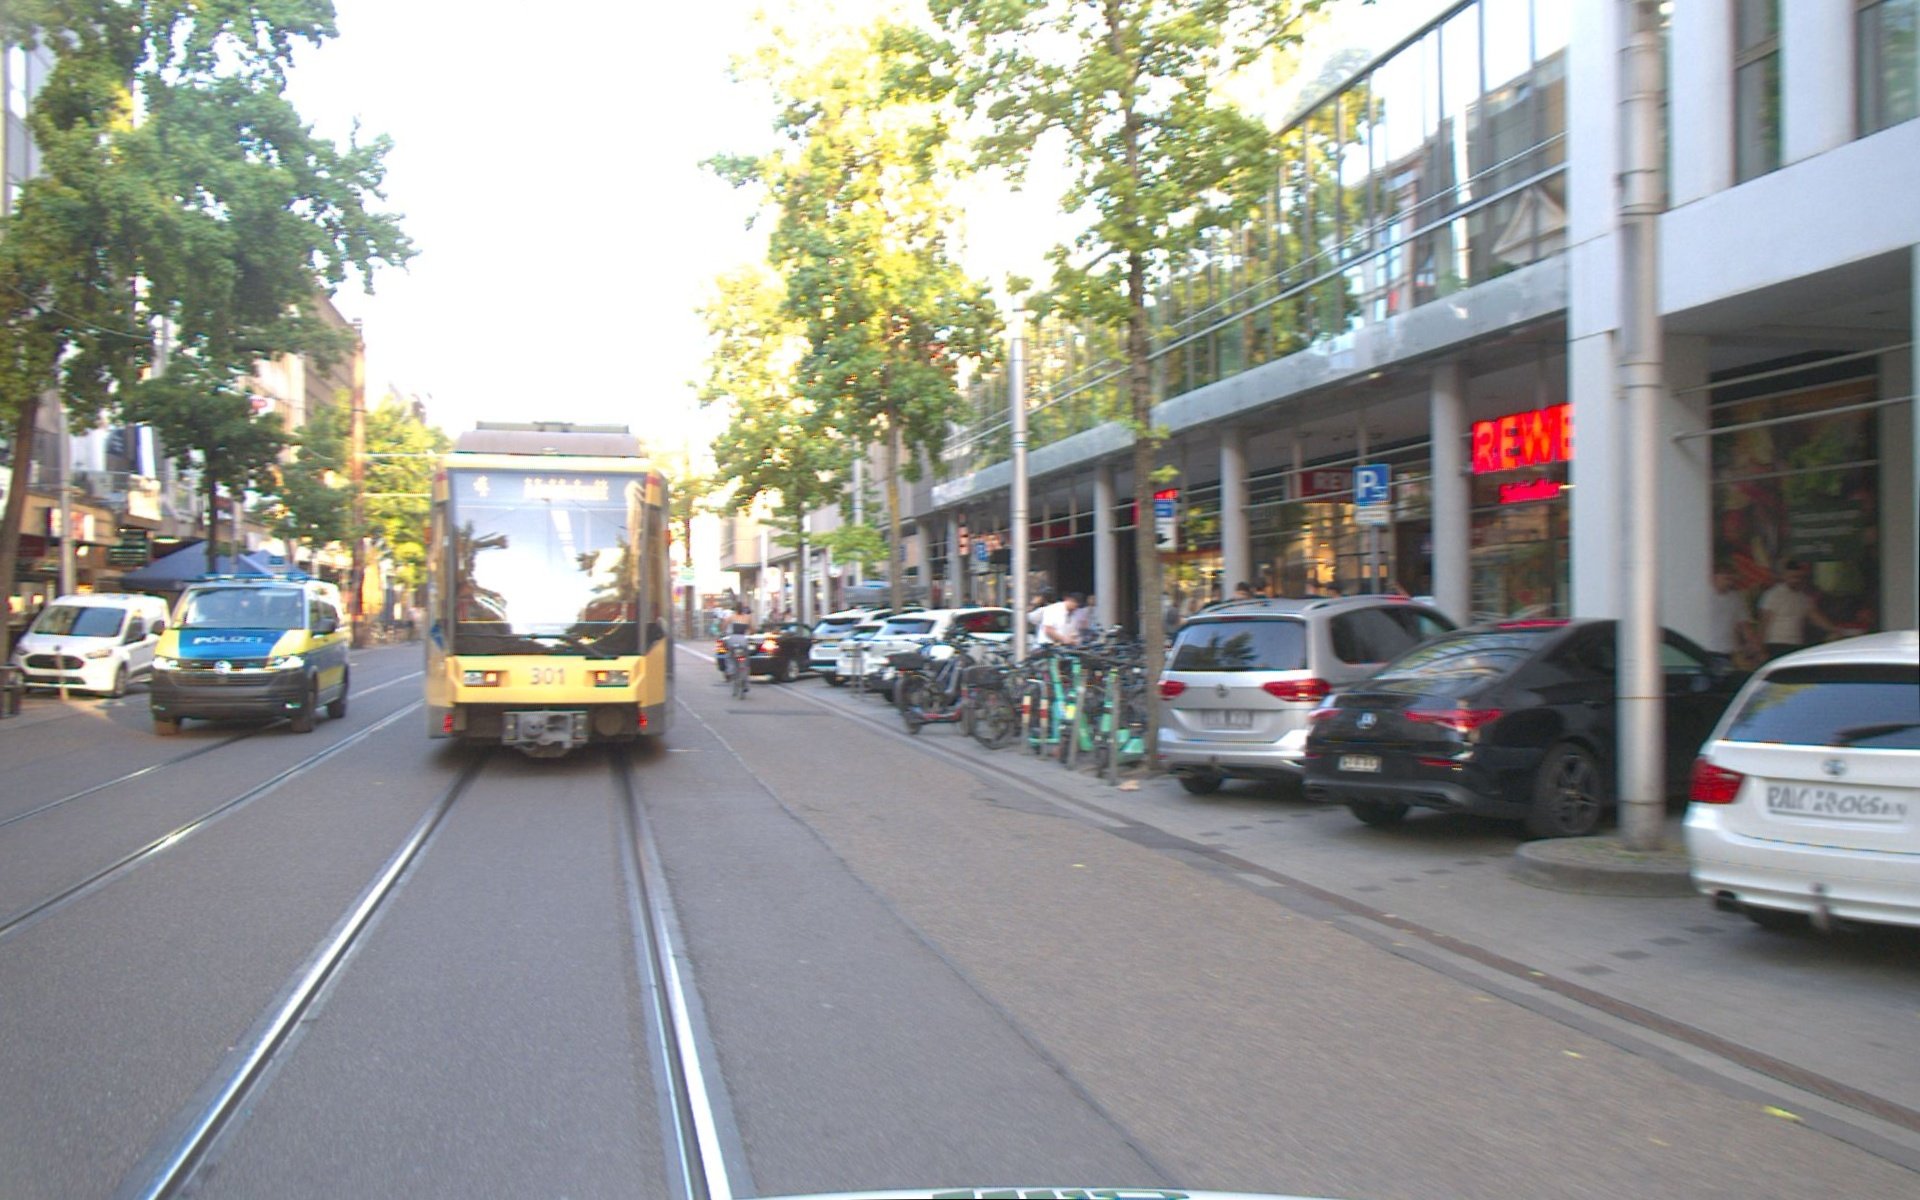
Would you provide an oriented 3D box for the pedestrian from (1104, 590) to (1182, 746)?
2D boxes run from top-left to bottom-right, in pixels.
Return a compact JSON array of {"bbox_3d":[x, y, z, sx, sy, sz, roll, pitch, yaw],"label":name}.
[{"bbox_3d":[2.007,0.729,18.226,0.773,1.654,0.770,-2,0,5],"label":"pedestrian"}]

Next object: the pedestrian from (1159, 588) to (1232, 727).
[{"bbox_3d":[2.880,0.692,20.224,0.689,1.653,0.660,-2,0,22],"label":"pedestrian"}]

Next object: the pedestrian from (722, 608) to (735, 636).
[{"bbox_3d":[-14.412,1.379,103.150,0.689,1.714,0.678,-2,1,-13],"label":"pedestrian"}]

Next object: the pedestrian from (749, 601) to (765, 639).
[{"bbox_3d":[-9.850,0.973,80.271,0.735,1.813,0.888,0,-2,-10],"label":"pedestrian"}]

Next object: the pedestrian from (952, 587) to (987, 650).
[{"bbox_3d":[0.280,0.548,49.930,0.818,1.868,0.941,-1,1,-13],"label":"pedestrian"}]

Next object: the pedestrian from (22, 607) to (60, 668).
[{"bbox_3d":[-22.499,0.913,40.498,0.599,1.459,0.510,3,-2,-11],"label":"pedestrian"}]

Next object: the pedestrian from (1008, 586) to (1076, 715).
[{"bbox_3d":[1.230,0.744,24.722,0.589,1.844,0.815,-1,2,38],"label":"pedestrian"}]

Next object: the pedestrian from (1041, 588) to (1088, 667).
[{"bbox_3d":[2.477,0.634,39.324,0.862,1.813,0.753,-2,1,-14],"label":"pedestrian"}]

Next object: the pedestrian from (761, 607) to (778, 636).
[{"bbox_3d":[-9.285,1.039,80.658,0.727,1.351,0.718,-2,1,-13],"label":"pedestrian"}]

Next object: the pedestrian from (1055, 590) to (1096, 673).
[{"bbox_3d":[2.442,0.662,35.025,0.668,1.729,0.802,0,-2,-14],"label":"pedestrian"}]

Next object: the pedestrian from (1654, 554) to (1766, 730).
[{"bbox_3d":[7.545,0.404,16.670,0.668,1.729,0.803,0,1,-14],"label":"pedestrian"}]

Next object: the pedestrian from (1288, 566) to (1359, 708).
[{"bbox_3d":[4.861,0.483,22.154,0.646,1.844,0.715,-2,0,-9],"label":"pedestrian"}]

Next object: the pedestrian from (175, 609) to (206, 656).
[{"bbox_3d":[-21.279,0.901,45.750,0.593,1.278,0.559,3,-2,-12],"label":"pedestrian"}]

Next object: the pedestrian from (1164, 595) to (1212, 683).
[{"bbox_3d":[4.161,0.711,30.266,0.668,1.575,0.662,0,-2,-14],"label":"pedestrian"}]

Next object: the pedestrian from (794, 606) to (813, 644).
[{"bbox_3d":[-7.024,1.120,74.102,0.689,1.666,0.643,-2,1,-13],"label":"pedestrian"}]

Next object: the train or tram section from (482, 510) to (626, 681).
[{"bbox_3d":[-9.875,-0.041,40.271,2.952,3.585,10.804,0,-1,-14],"label":"train or tram section"}]

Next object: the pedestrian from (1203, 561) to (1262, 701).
[{"bbox_3d":[3.694,0.413,22.396,0.644,1.844,0.717,-2,0,17],"label":"pedestrian"}]

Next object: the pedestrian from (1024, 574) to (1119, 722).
[{"bbox_3d":[1.541,0.641,22.877,0.937,1.947,0.856,-3,1,-25],"label":"pedestrian"}]

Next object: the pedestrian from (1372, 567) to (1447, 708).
[{"bbox_3d":[5.222,0.430,19.259,0.744,1.599,0.632,-1,-1,9],"label":"pedestrian"}]

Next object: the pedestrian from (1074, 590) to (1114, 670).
[{"bbox_3d":[2.909,0.652,35.895,0.651,1.729,0.802,0,-2,-14],"label":"pedestrian"}]

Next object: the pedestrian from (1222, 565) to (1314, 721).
[{"bbox_3d":[3.774,0.517,20.226,0.866,1.844,0.937,-2,0,22],"label":"pedestrian"}]

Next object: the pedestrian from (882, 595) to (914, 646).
[{"bbox_3d":[-2.397,0.768,63.843,1.035,1.909,0.926,-2,1,-13],"label":"pedestrian"}]

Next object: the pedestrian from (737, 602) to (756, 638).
[{"bbox_3d":[-10.755,0.995,83.345,0.873,1.813,0.748,0,-2,-15],"label":"pedestrian"}]

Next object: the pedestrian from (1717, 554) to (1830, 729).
[{"bbox_3d":[8.281,0.405,16.856,0.668,1.729,0.803,0,1,-14],"label":"pedestrian"}]

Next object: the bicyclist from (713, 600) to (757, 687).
[{"bbox_3d":[-4.118,0.796,30.267,0.714,1.553,0.731,1,-2,-13],"label":"bicyclist"}]

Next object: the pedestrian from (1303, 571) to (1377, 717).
[{"bbox_3d":[4.796,0.542,20.920,0.715,1.784,0.717,-2,0,0],"label":"pedestrian"}]

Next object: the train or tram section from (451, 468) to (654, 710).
[{"bbox_3d":[-7.351,-0.104,29.978,2.956,3.585,10.363,0,-1,-14],"label":"train or tram section"}]

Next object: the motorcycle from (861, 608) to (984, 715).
[{"bbox_3d":[-0.553,0.919,25.572,0.779,1.497,2.200,-1,1,32],"label":"motorcycle"}]

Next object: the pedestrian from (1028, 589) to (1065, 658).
[{"bbox_3d":[2.132,0.568,40.840,0.586,1.644,1.018,-2,1,-14],"label":"pedestrian"}]

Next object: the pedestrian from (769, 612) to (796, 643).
[{"bbox_3d":[-8.088,1.244,75.230,1.093,1.351,0.923,-2,0,-13],"label":"pedestrian"}]

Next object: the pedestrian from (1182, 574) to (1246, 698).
[{"bbox_3d":[3.879,0.539,25.246,0.773,1.844,0.660,-2,0,22],"label":"pedestrian"}]

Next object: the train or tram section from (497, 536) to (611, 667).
[{"bbox_3d":[-12.407,0.118,50.615,2.993,3.585,10.491,1,-1,-14],"label":"train or tram section"}]

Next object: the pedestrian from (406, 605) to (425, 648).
[{"bbox_3d":[-24.381,1.200,74.019,0.739,1.913,0.573,2,-2,-18],"label":"pedestrian"}]

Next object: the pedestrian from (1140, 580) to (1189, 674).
[{"bbox_3d":[3.830,0.499,31.040,0.668,1.729,0.803,0,1,-14],"label":"pedestrian"}]

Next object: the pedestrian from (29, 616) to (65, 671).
[{"bbox_3d":[-21.557,1.019,39.059,0.502,1.264,0.658,3,-2,-13],"label":"pedestrian"}]

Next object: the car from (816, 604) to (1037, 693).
[{"bbox_3d":[-0.638,0.950,33.438,4.140,1.483,1.840,-4,0,-37],"label":"car"}]

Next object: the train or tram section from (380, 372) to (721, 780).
[{"bbox_3d":[-4.881,-0.151,19.917,2.965,3.585,10.332,0,-1,-14],"label":"train or tram section"}]
